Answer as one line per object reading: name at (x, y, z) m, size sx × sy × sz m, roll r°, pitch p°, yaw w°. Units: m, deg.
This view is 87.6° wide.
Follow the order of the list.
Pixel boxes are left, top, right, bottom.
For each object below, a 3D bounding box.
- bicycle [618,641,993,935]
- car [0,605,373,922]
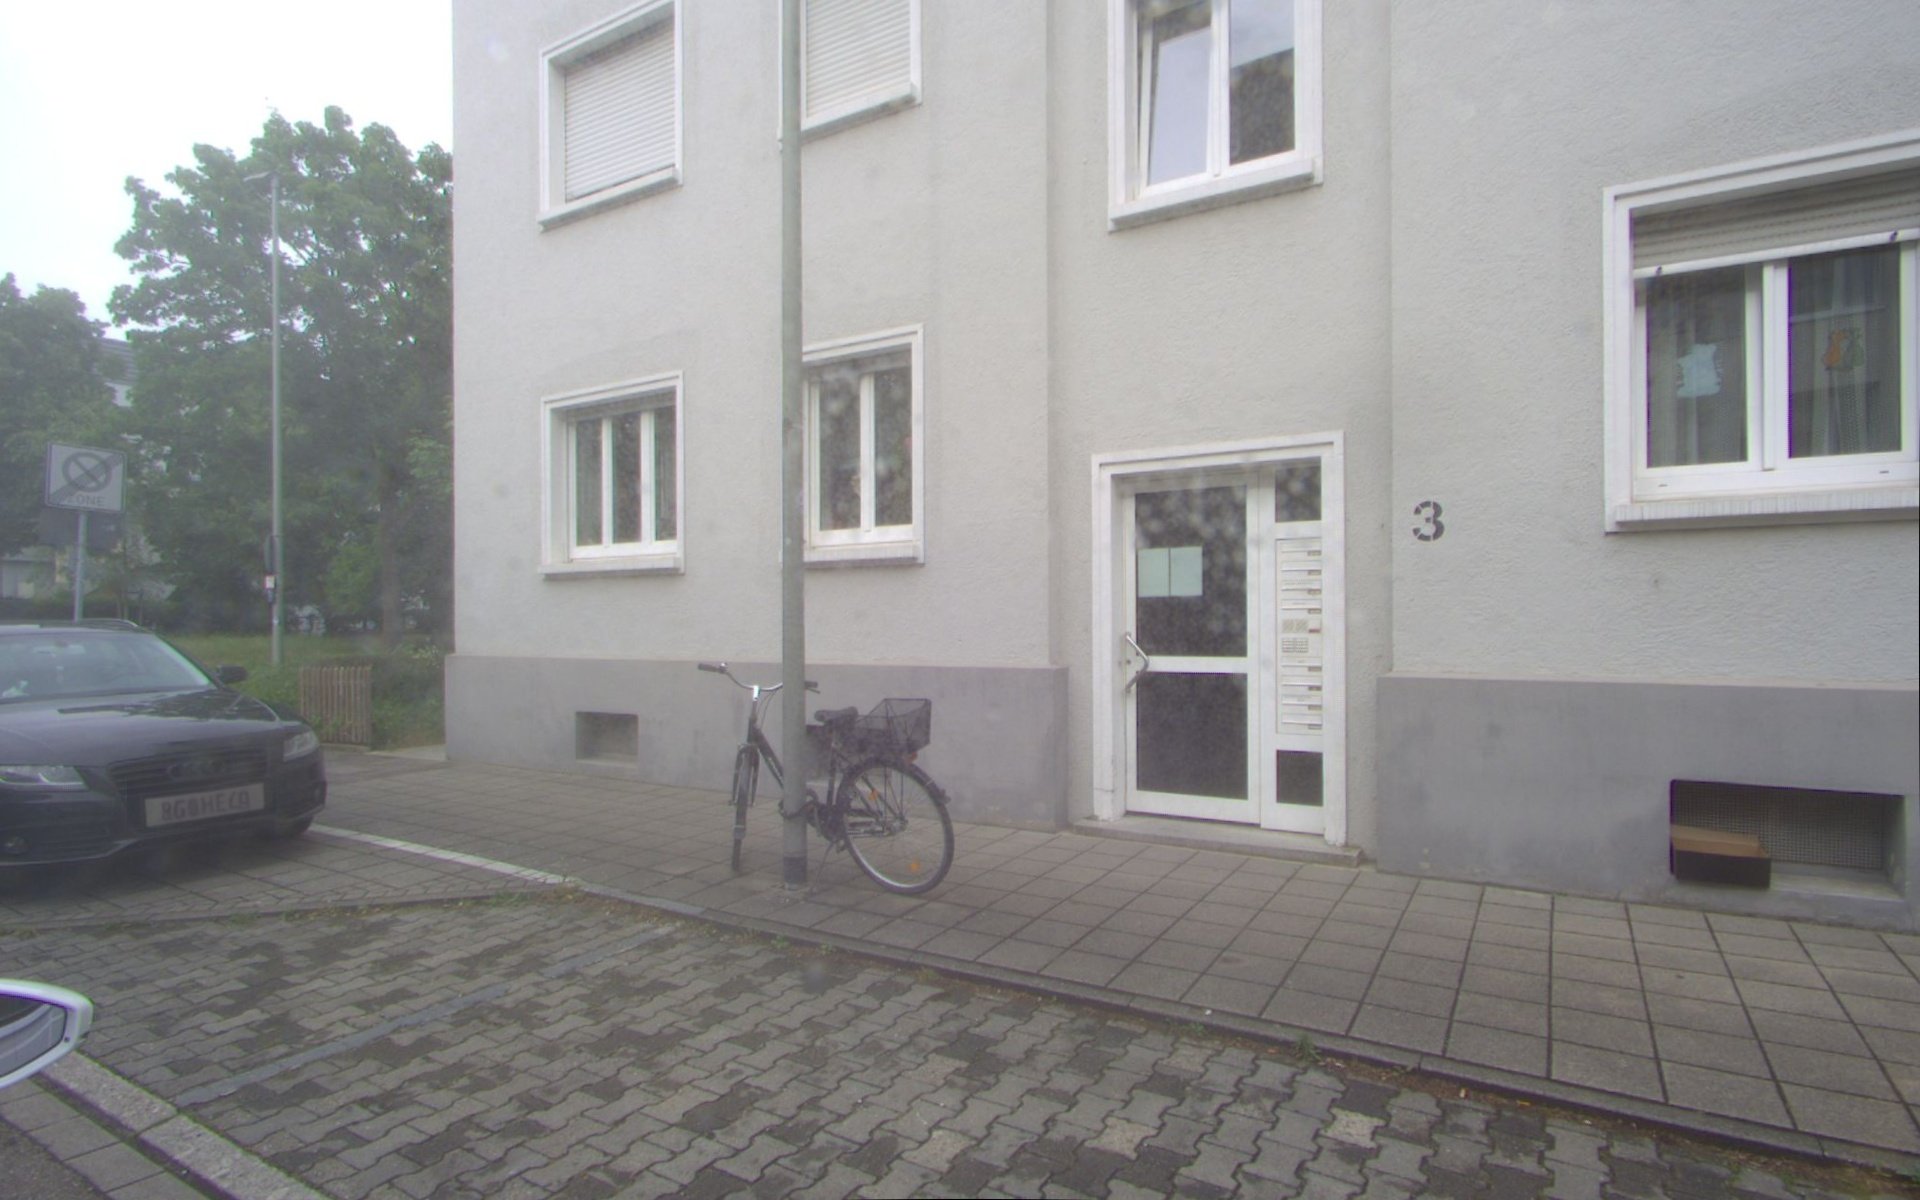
bicycle at (-0.829, 0.855, 5.169) m, size 1.868 × 1.216 × 0.747 m, roll 0°, pitch 1°, yaw 32°
car at (-6.098, 0.788, 6.563) m, size 4.655 × 1.482 × 1.857 m, roll -1°, pitch 0°, yaw 31°
